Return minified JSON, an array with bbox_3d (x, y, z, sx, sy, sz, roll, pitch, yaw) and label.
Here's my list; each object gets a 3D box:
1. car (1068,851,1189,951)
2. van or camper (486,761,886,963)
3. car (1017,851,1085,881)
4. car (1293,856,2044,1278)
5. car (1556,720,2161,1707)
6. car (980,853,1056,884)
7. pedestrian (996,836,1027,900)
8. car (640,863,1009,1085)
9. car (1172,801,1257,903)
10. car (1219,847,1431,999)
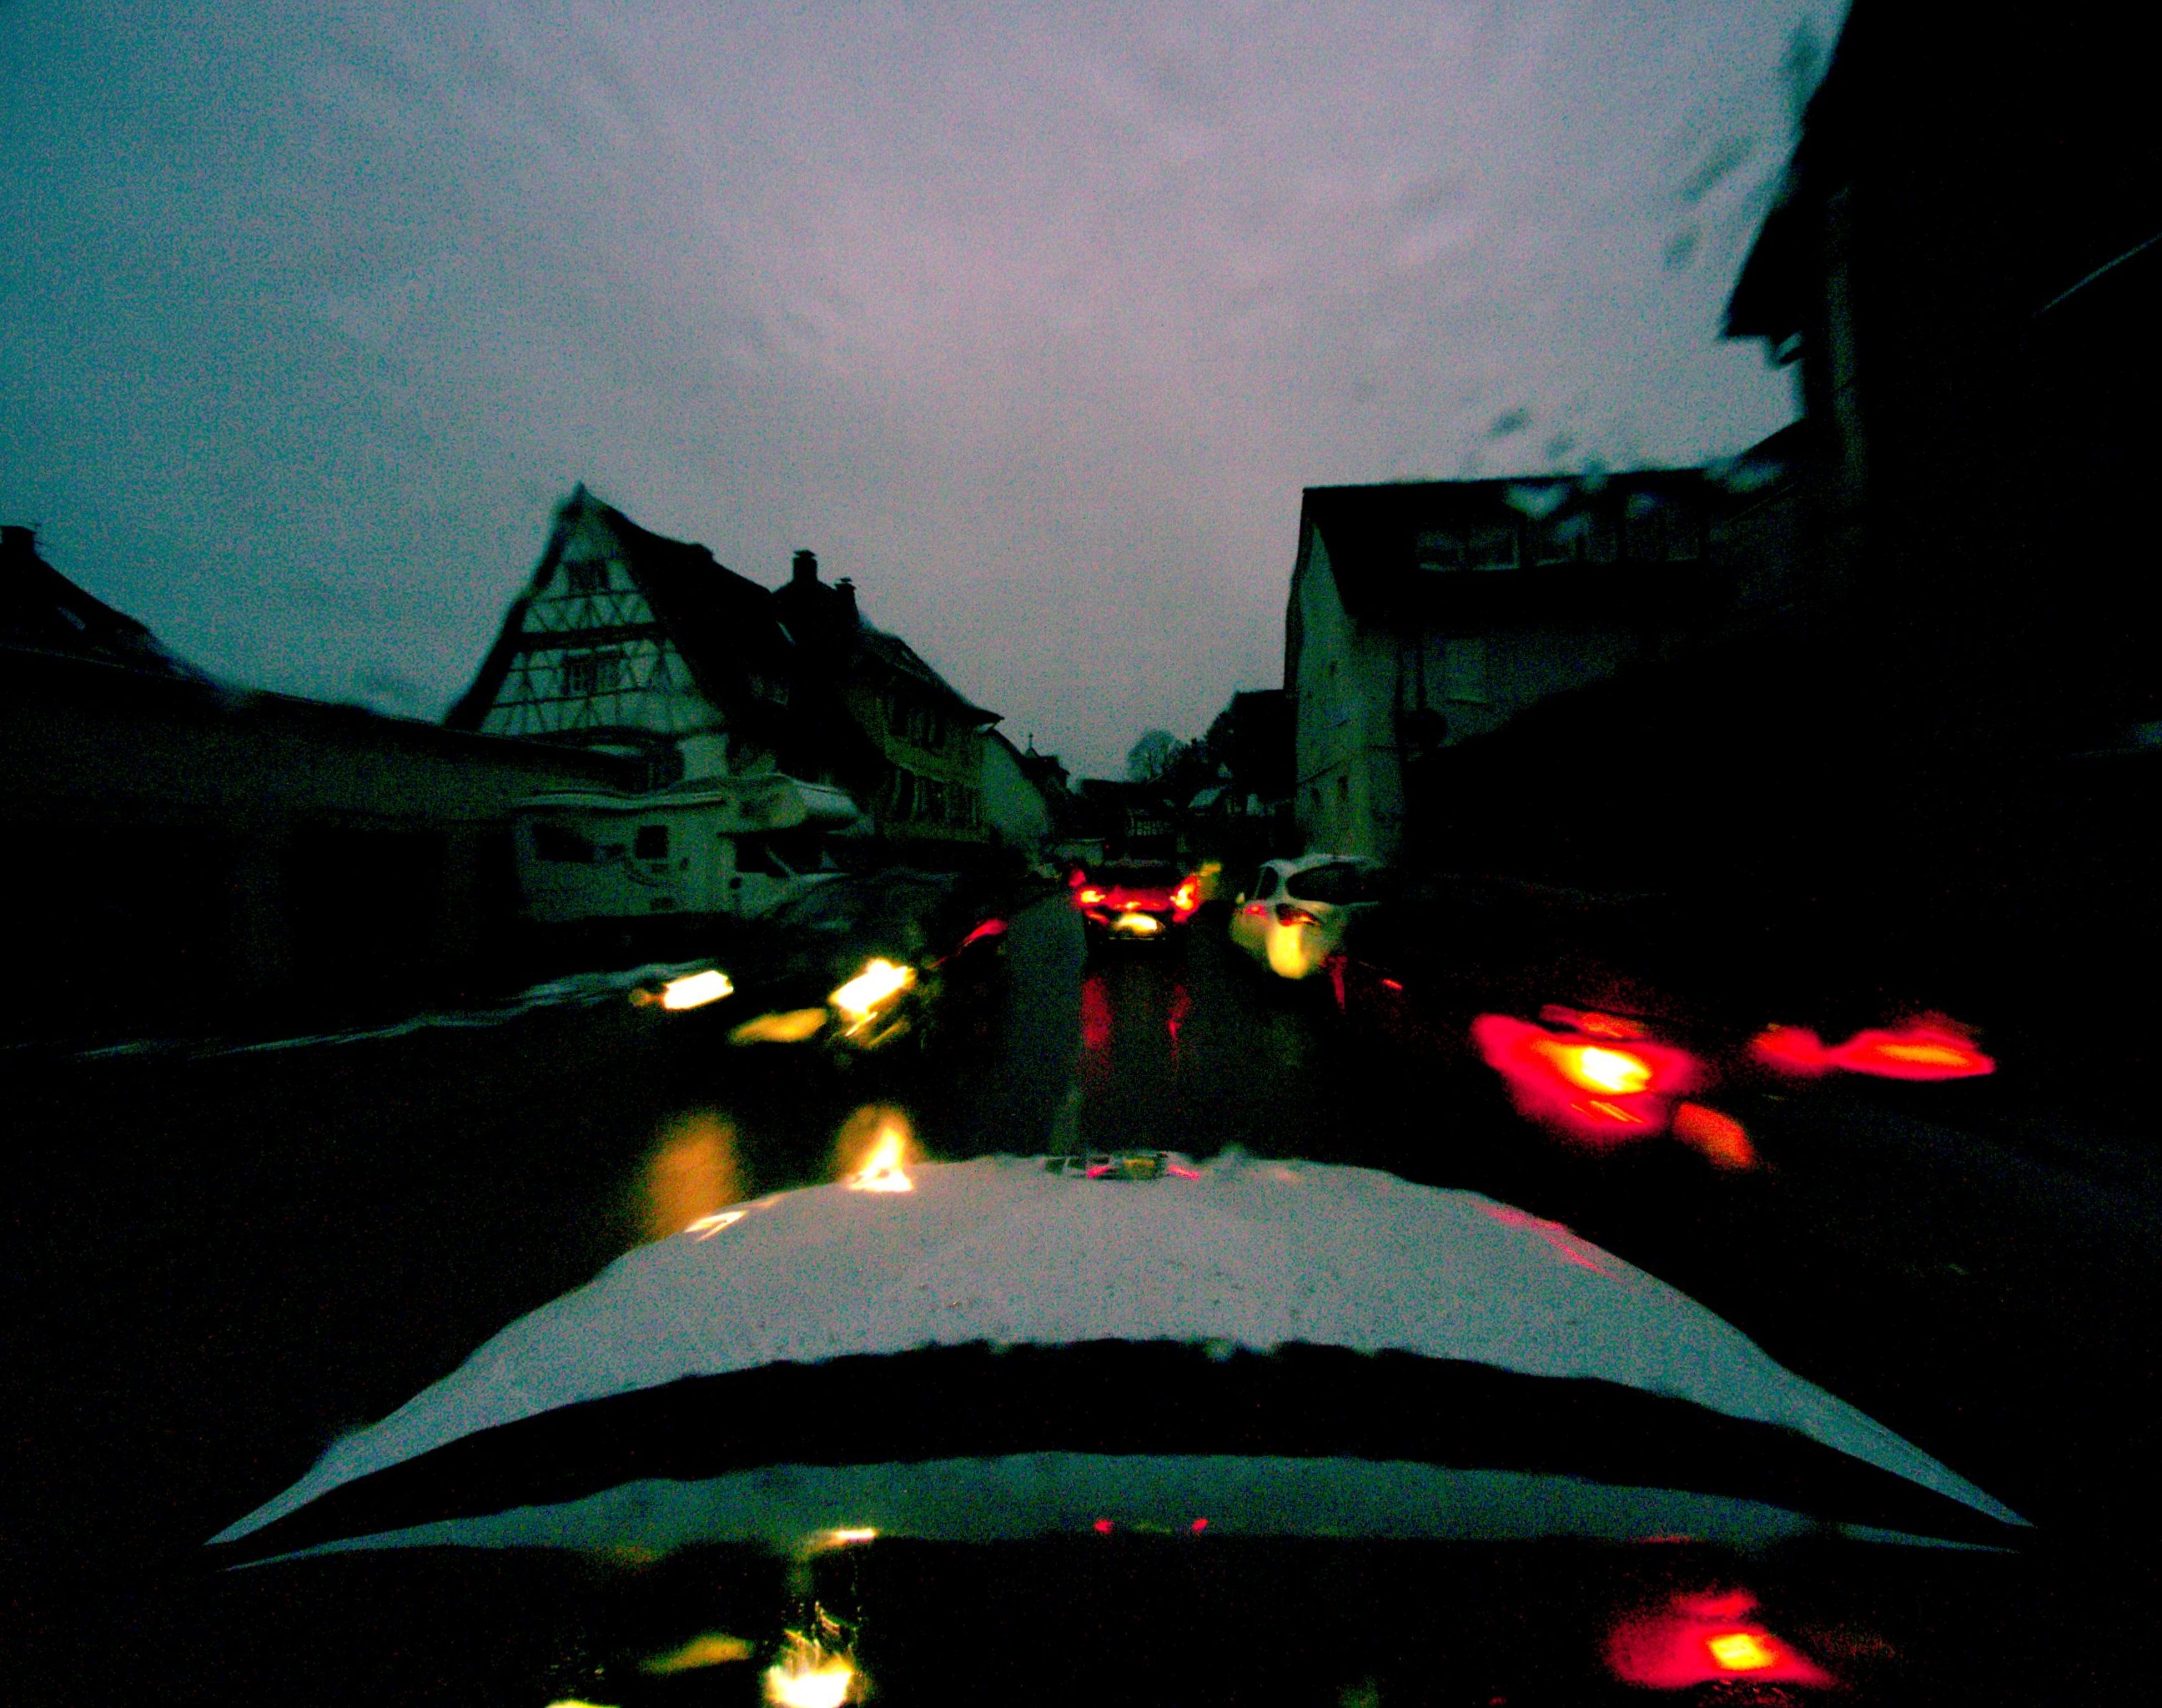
[{"bbox_3d":[0.833,0.696,14.120,1.787,1.476,4.004,0,0,3],"label":"car"},{"bbox_3d":[-6.997,0.174,14.855,6.028,2.955,2.411,-4,-1,7],"label":"van or camper"},{"bbox_3d":[-1.610,0.645,44.082,3.492,1.507,1.694,-1,0,3],"label":"car"},{"bbox_3d":[2.492,0.737,4.662,1.673,1.395,3.753,-1,0,2],"label":"car"},{"bbox_3d":[2.196,0.586,0.258,1.792,1.534,4.001,-1,0,1],"label":"car"},{"bbox_3d":[-3.189,0.716,41.458,3.487,1.507,1.697,-1,0,9],"label":"car"},{"bbox_3d":[-2.262,0.452,26.652,0.870,2.013,0.795,-1,0,2],"label":"pedestrian"},{"bbox_3d":[-1.932,0.839,7.682,1.860,1.402,4.370,-1,0,3],"label":"car"},{"bbox_3d":[3.415,-0.050,21.368,1.806,2.413,3.755,-1,0,4],"label":"car"},{"bbox_3d":[2.786,0.698,10.132,1.717,1.507,3.756,-1,0,4],"label":"car"}]
